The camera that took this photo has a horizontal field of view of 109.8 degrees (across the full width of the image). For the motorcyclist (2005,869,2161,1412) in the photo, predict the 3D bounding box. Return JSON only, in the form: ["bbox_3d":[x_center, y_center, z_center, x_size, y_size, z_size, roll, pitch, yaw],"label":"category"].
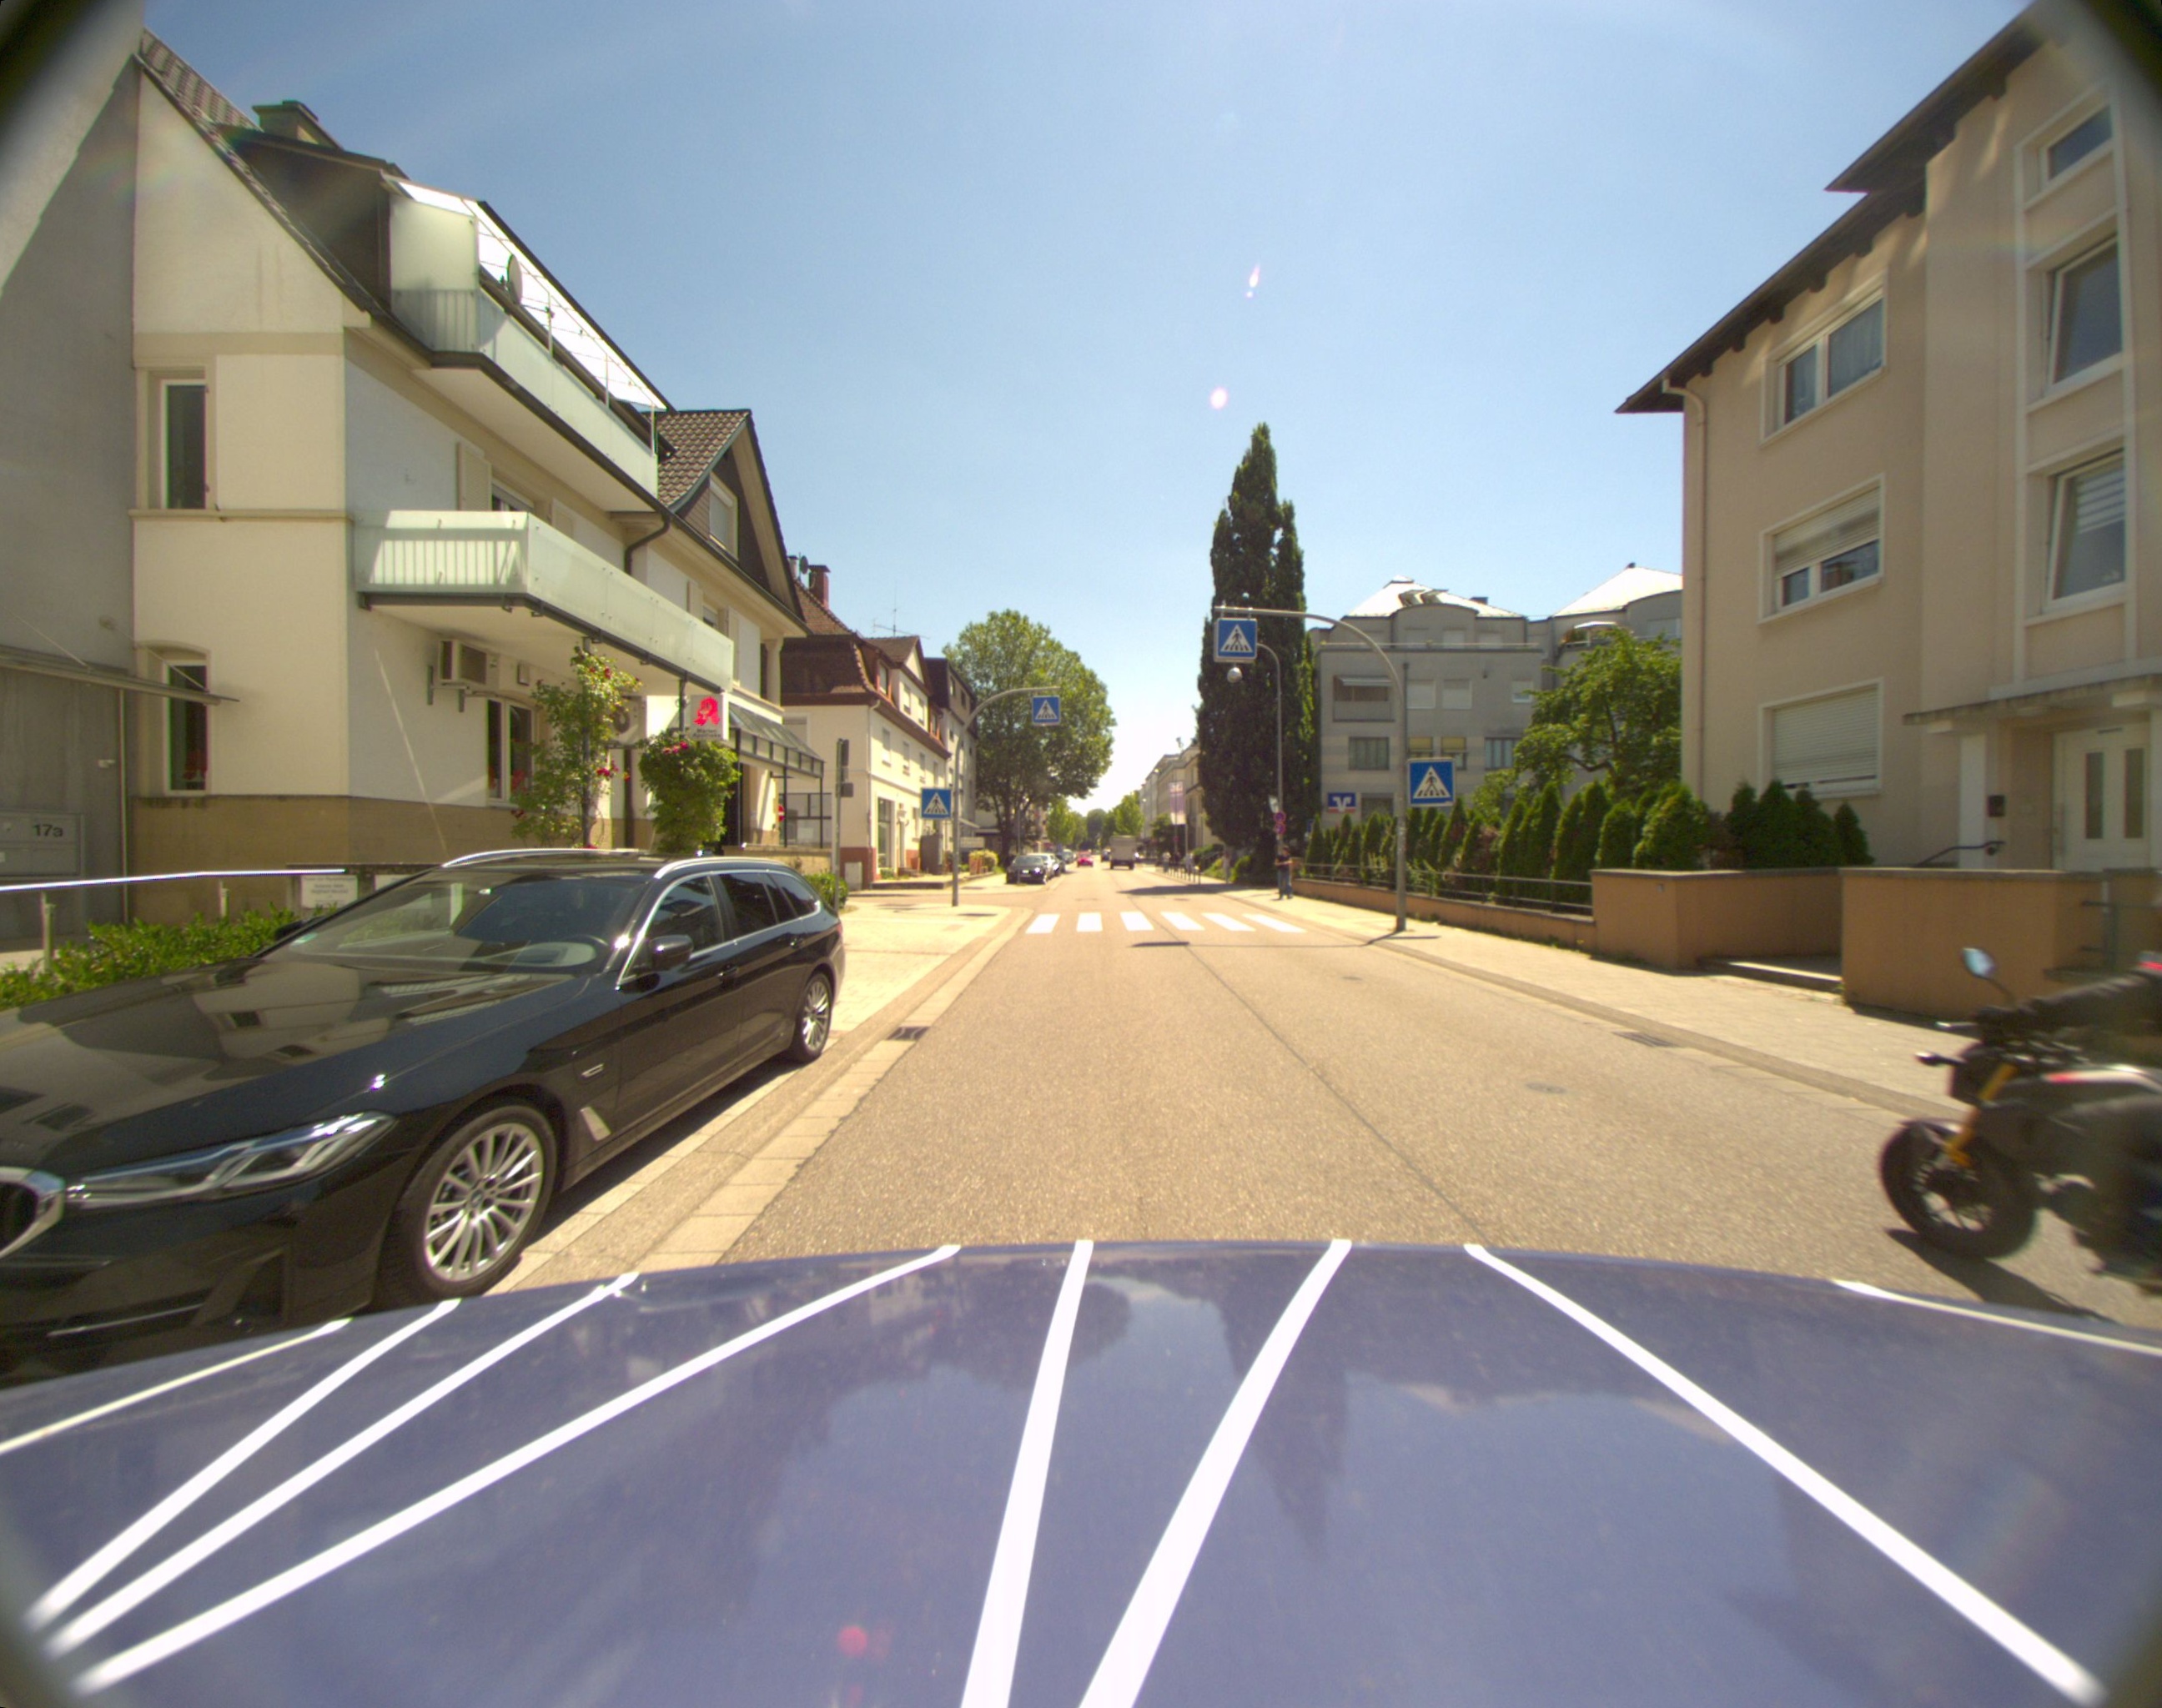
[{"bbox_3d":[3.214,0.767,1.977,0.700,1.425,0.707,1,1,1],"label":"motorcyclist"}]

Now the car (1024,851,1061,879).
[{"bbox_3d":[-2.171,0.592,43.981,1.748,1.460,4.851,2,1,1],"label":"car"}]

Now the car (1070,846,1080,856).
[{"bbox_3d":[-1.070,-0.525,131.857,1.731,1.861,4.114,0,1,0],"label":"car"}]

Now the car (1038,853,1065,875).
[{"bbox_3d":[-1.859,0.637,49.577,1.561,1.333,4.173,1,1,0],"label":"car"}]

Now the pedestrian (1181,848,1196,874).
[{"bbox_3d":[7.051,0.427,49.792,0.847,1.635,0.751,-3,1,2],"label":"pedestrian"}]

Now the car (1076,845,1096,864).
[{"bbox_3d":[0.522,0.022,80.953,2.000,1.880,4.293,-2,1,0],"label":"car"}]

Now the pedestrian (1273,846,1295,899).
[{"bbox_3d":[6.513,0.595,24.400,0.538,1.675,0.708,-1,1,1],"label":"pedestrian"}]

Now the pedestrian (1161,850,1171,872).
[{"bbox_3d":[6.506,0.513,58.002,0.622,1.667,0.903,-2,1,0],"label":"pedestrian"}]

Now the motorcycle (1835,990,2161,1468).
[{"bbox_3d":[3.211,1.076,1.978,0.700,1.101,1.790,1,1,1],"label":"motorcycle"}]

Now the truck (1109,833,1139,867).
[{"bbox_3d":[3.919,-0.359,70.068,2.426,2.966,6.257,-1,0,0],"label":"truck"}]

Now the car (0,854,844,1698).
[{"bbox_3d":[-2.814,0.784,3.754,1.709,1.547,4.748,0,0,1],"label":"car"}]

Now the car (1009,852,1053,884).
[{"bbox_3d":[-2.419,0.638,37.854,1.831,1.418,4.700,1,1,1],"label":"car"}]

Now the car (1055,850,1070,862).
[{"bbox_3d":[-2.320,0.207,95.368,1.818,1.379,4.114,1,1,0],"label":"car"}]

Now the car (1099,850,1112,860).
[{"bbox_3d":[3.732,0.143,115.918,1.834,1.502,4.262,-1,0,1],"label":"car"}]

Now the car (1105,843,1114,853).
[{"bbox_3d":[6.098,-1.312,162.032,1.731,2.154,4.293,1,1,0],"label":"car"}]

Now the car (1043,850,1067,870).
[{"bbox_3d":[-2.077,0.444,61.497,1.834,1.502,4.758,-1,1,-2],"label":"car"}]

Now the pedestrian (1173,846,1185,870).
[{"bbox_3d":[7.455,0.299,57.910,0.750,1.760,0.951,-1,1,0],"label":"pedestrian"}]

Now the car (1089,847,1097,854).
[{"bbox_3d":[2.519,-0.747,161.969,1.698,1.594,3.812,0,0,0],"label":"car"}]

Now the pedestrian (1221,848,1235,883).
[{"bbox_3d":[7.001,0.537,36.194,0.538,1.675,0.708,-1,1,1],"label":"pedestrian"}]
